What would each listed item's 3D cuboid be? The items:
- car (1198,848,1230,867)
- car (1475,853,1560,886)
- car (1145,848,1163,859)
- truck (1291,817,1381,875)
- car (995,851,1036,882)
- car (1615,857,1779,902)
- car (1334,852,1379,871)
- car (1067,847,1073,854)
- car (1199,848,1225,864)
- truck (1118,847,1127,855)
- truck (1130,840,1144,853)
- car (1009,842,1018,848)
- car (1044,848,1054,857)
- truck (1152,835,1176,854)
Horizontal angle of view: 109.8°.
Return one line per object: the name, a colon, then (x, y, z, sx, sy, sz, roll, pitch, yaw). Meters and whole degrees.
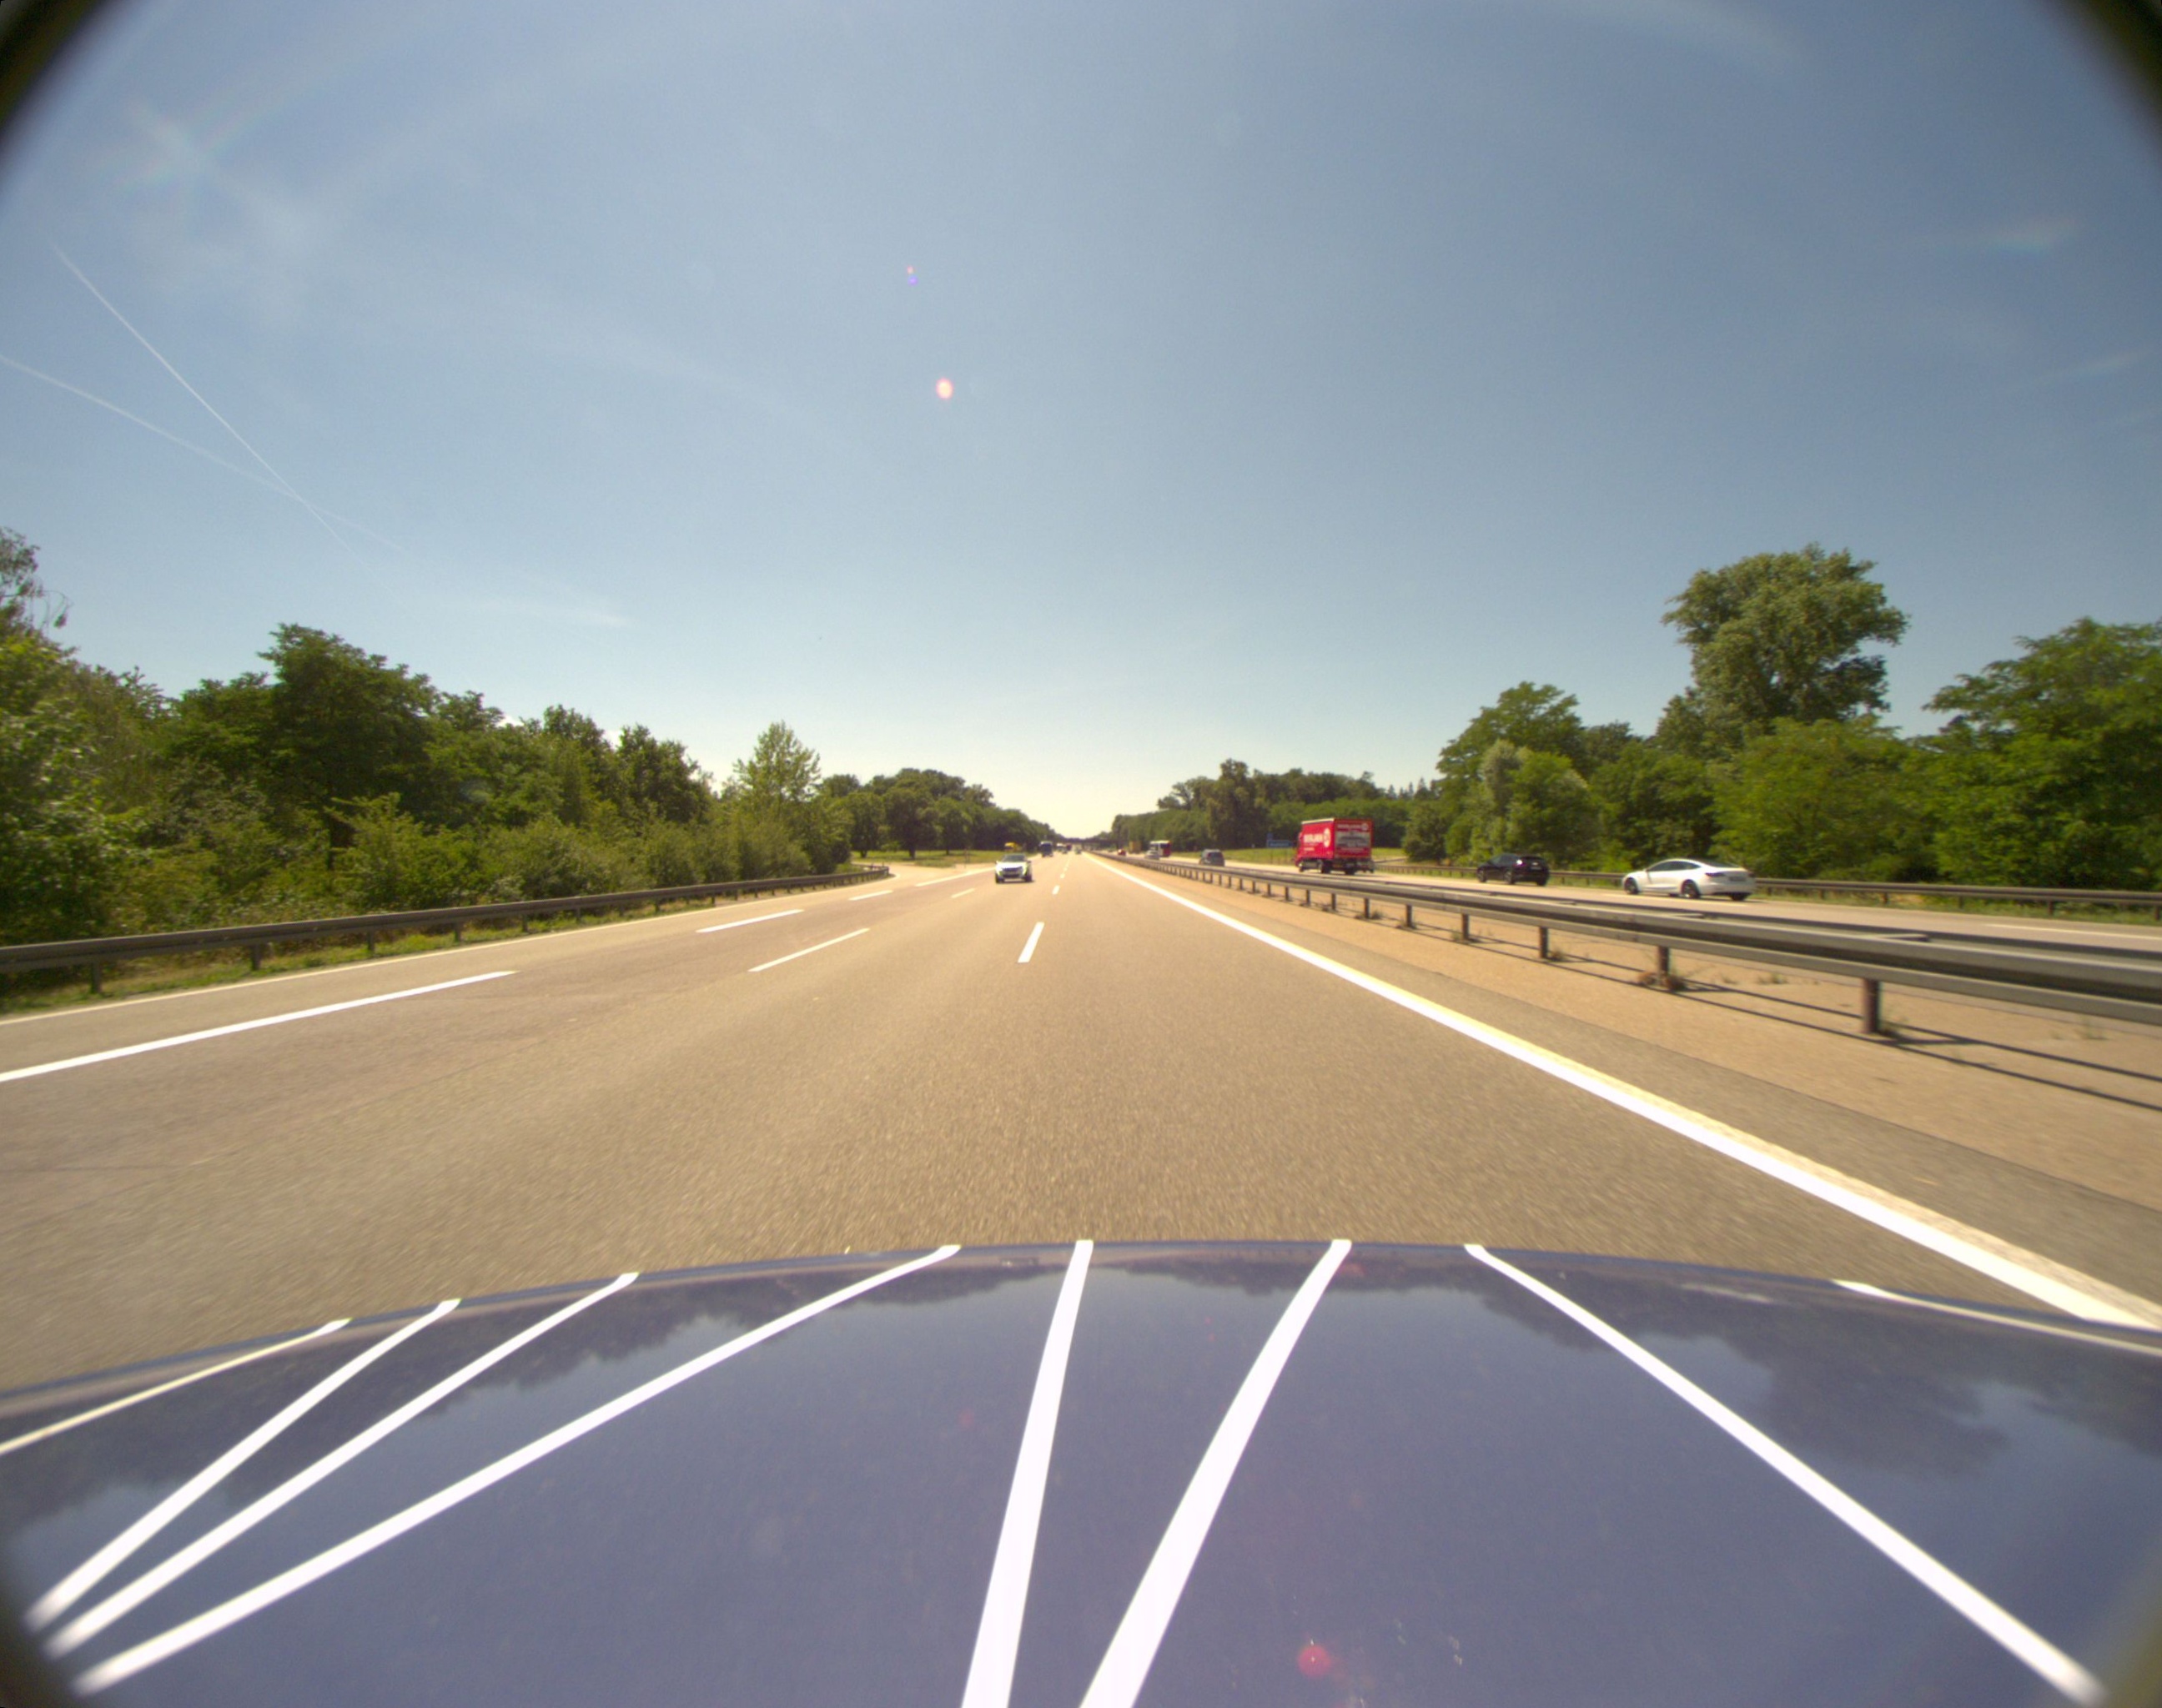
car: (11.206, 0.260, 64.444, 1.901, 1.497, 4.116, -1, 0, -1)
car: (22.324, 0.747, 39.070, 1.998, 1.569, 4.268, 0, 0, 2)
car: (10.164, -0.075, 106.240, 1.998, 1.543, 5.223, -1, 1, 0)
truck: (17.818, -0.564, 53.992, 3.072, 3.705, 9.804, 1, 1, 0)
car: (-3.547, 0.638, 41.630, 1.845, 1.565, 3.999, -2, 1, 0)
car: (22.239, 0.868, 27.765, 1.998, 1.404, 4.972, -1, 0, 0)
car: (22.935, 0.609, 63.447, 1.998, 1.501, 4.720, 1, 1, 0)
car: (-3.327, -1.059, 232.612, 1.840, 2.002, 3.999, -1, 1, 0)
car: (13.924, 0.152, 81.024, 1.998, 1.617, 4.543, 1, 1, 0)
truck: (9.177, -0.652, 168.880, 1.835, 1.554, 4.309, -1, 1, 1)
truck: (17.209, -2.243, 234.278, 3.091, 3.853, 15.619, -2, 1, 0)
car: (-21.246, -2.868, 239.112, 2.562, 2.002, 6.762, -1, 1, -2)
car: (-7.514, -0.311, 179.010, 2.301, 2.002, 4.794, -1, 1, -2)
truck: (17.873, -2.027, 164.766, 3.091, 3.853, 17.542, -1, 1, -1)
